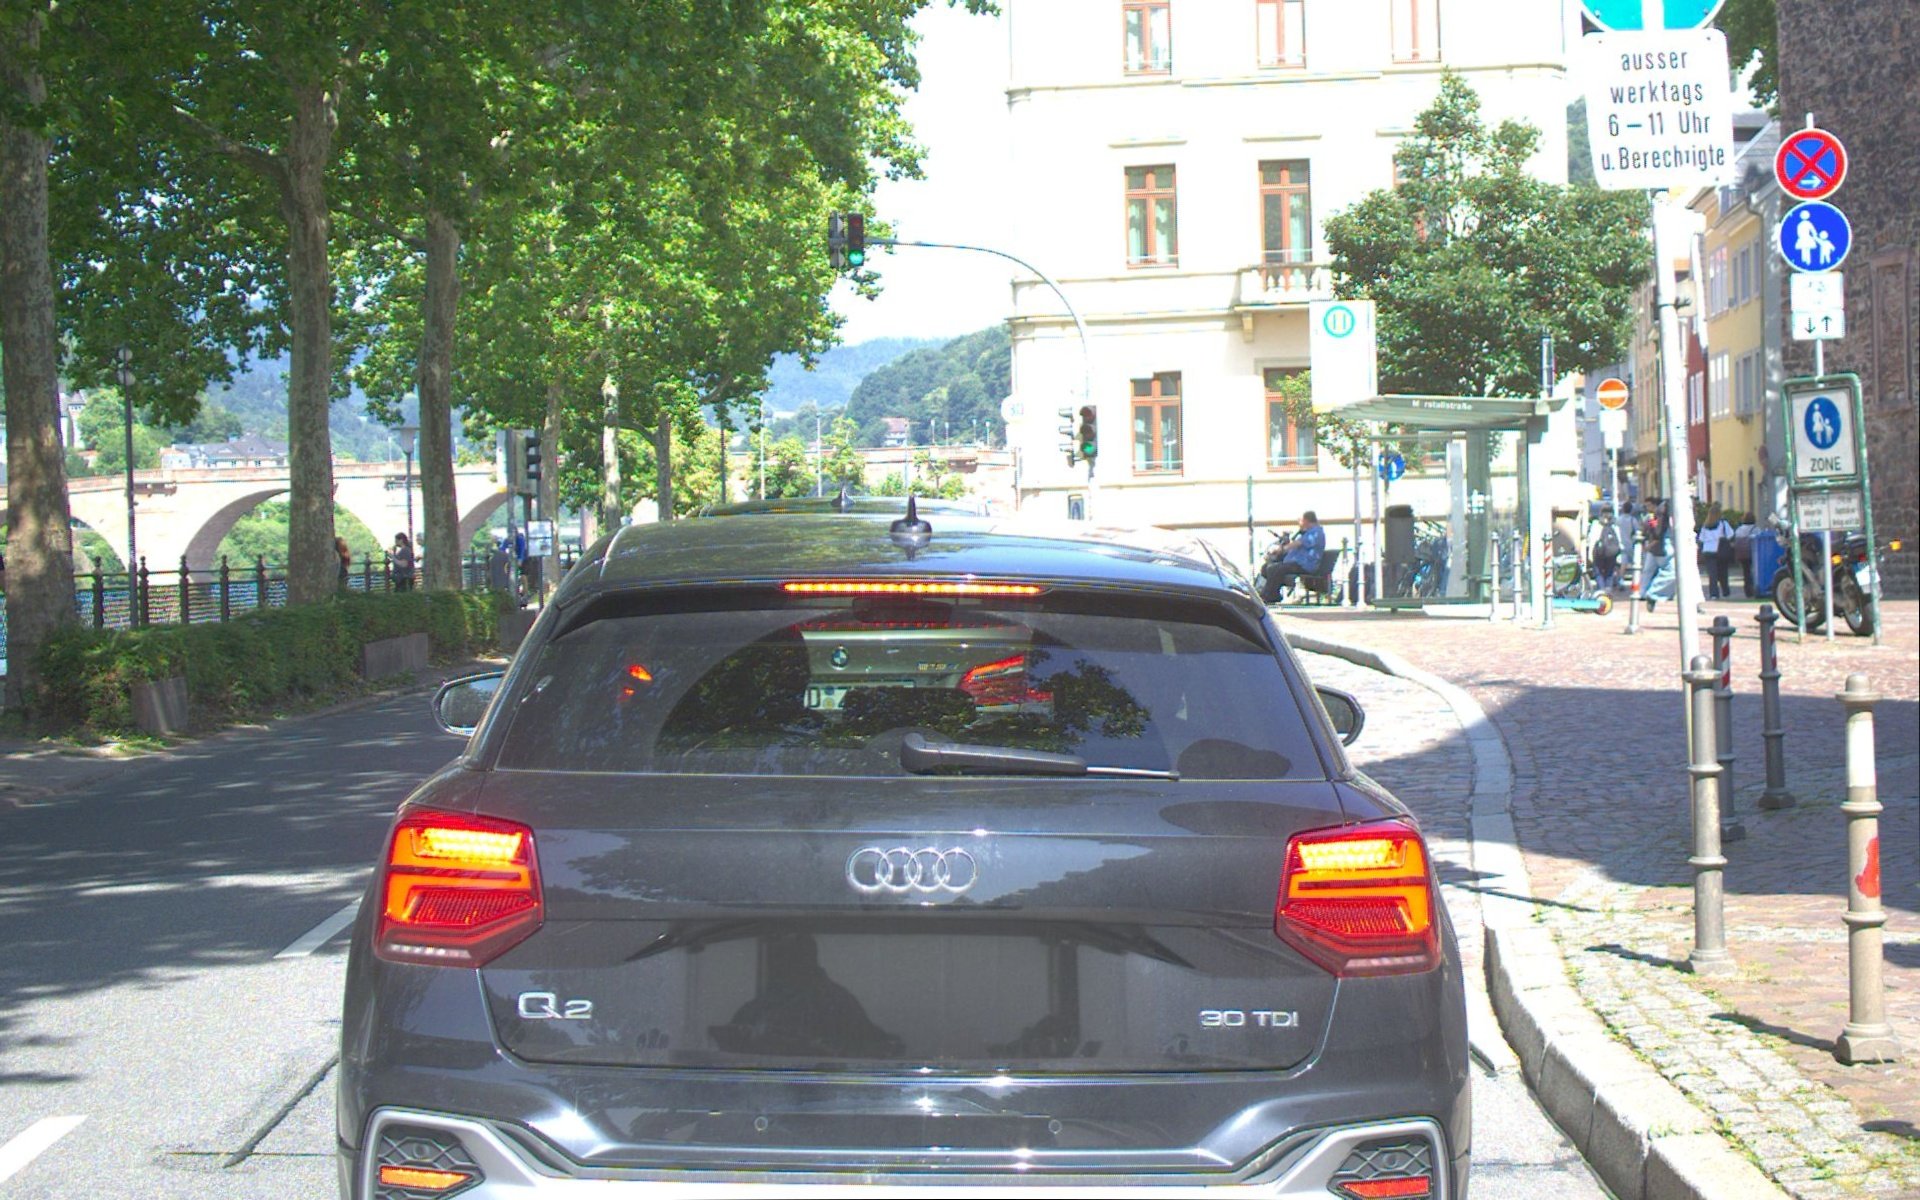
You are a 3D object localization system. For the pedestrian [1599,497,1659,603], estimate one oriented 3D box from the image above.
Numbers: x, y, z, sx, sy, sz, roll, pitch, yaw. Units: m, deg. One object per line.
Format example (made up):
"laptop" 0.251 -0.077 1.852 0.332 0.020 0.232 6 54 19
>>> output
"pedestrian" 12.853 -0.954 66.043 0.940 2.007 0.807 1 0 -2

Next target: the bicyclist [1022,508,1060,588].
"bicyclist" 1.477 -0.951 62.582 0.605 1.445 0.591 1 0 -5

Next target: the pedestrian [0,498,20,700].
"pedestrian" -9.161 -0.020 32.235 0.534 1.880 0.436 1 1 -1

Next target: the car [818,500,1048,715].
"car" -0.237 0.013 29.147 1.794 1.676 4.000 1 1 -1

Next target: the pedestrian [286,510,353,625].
"pedestrian" -10.242 -0.519 54.978 0.911 1.805 0.585 1 -1 4

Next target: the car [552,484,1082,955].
"car" -0.510 0.374 13.467 1.793 1.589 3.399 1 1 -1

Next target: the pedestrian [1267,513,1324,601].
"pedestrian" 4.699 -0.604 48.137 0.663 1.207 0.641 1 0 -6

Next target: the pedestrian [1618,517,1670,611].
"pedestrian" 14.755 -0.780 74.191 0.944 2.007 0.807 1 0 0

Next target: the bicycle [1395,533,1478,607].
"bicycle" 6.792 -0.430 49.002 1.201 1.031 0.179 1 0 -19

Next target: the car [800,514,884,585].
"car" -3.092 -1.315 90.509 1.993 1.800 4.000 1 0 1

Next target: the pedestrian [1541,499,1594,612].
"pedestrian" 7.523 -0.550 42.578 0.557 1.380 0.588 1 0 2

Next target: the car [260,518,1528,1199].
"car" -0.117 0.613 6.596 1.743 1.504 3.647 1 1 -1

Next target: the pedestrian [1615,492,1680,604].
"pedestrian" 11.887 -0.902 59.454 0.750 1.884 0.749 -3 2 -44

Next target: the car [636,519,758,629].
"car" -4.336 -0.467 57.190 1.673 1.654 4.223 -4 1 -1

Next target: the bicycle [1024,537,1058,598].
"bicycle" 1.465 -0.589 62.521 0.437 1.082 1.677 1 0 -5

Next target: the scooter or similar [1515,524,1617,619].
"scooter or similar" 6.951 -0.328 39.443 1.088 1.062 0.323 1 0 -2

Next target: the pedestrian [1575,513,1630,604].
"pedestrian" 10.270 -0.661 54.938 0.638 1.439 0.799 1 0 -7

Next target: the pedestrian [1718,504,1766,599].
"pedestrian" 13.487 -0.837 59.249 0.691 1.607 0.891 -2 1 17

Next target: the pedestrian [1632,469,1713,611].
"pedestrian" 8.438 -0.705 40.713 0.808 1.656 0.655 -1 0 22

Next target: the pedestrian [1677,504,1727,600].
"pedestrian" 12.760 -0.830 59.108 0.607 1.613 0.710 -3 0 -1

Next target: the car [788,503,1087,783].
"car" -0.150 0.206 21.569 1.710 1.603 3.655 0 1 -1

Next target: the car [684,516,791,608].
"car" -4.447 -0.784 69.276 1.769 1.654 4.000 -5 1 0

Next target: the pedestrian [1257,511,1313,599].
"pedestrian" 4.619 -0.637 48.896 0.663 1.227 0.641 1 0 -6

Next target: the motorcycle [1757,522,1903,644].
"motorcycle" 7.599 -0.170 30.135 0.566 1.009 2.490 -1 1 -2

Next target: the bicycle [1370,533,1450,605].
"bicycle" 6.497 -0.447 49.617 1.184 1.012 0.179 1 0 -19
